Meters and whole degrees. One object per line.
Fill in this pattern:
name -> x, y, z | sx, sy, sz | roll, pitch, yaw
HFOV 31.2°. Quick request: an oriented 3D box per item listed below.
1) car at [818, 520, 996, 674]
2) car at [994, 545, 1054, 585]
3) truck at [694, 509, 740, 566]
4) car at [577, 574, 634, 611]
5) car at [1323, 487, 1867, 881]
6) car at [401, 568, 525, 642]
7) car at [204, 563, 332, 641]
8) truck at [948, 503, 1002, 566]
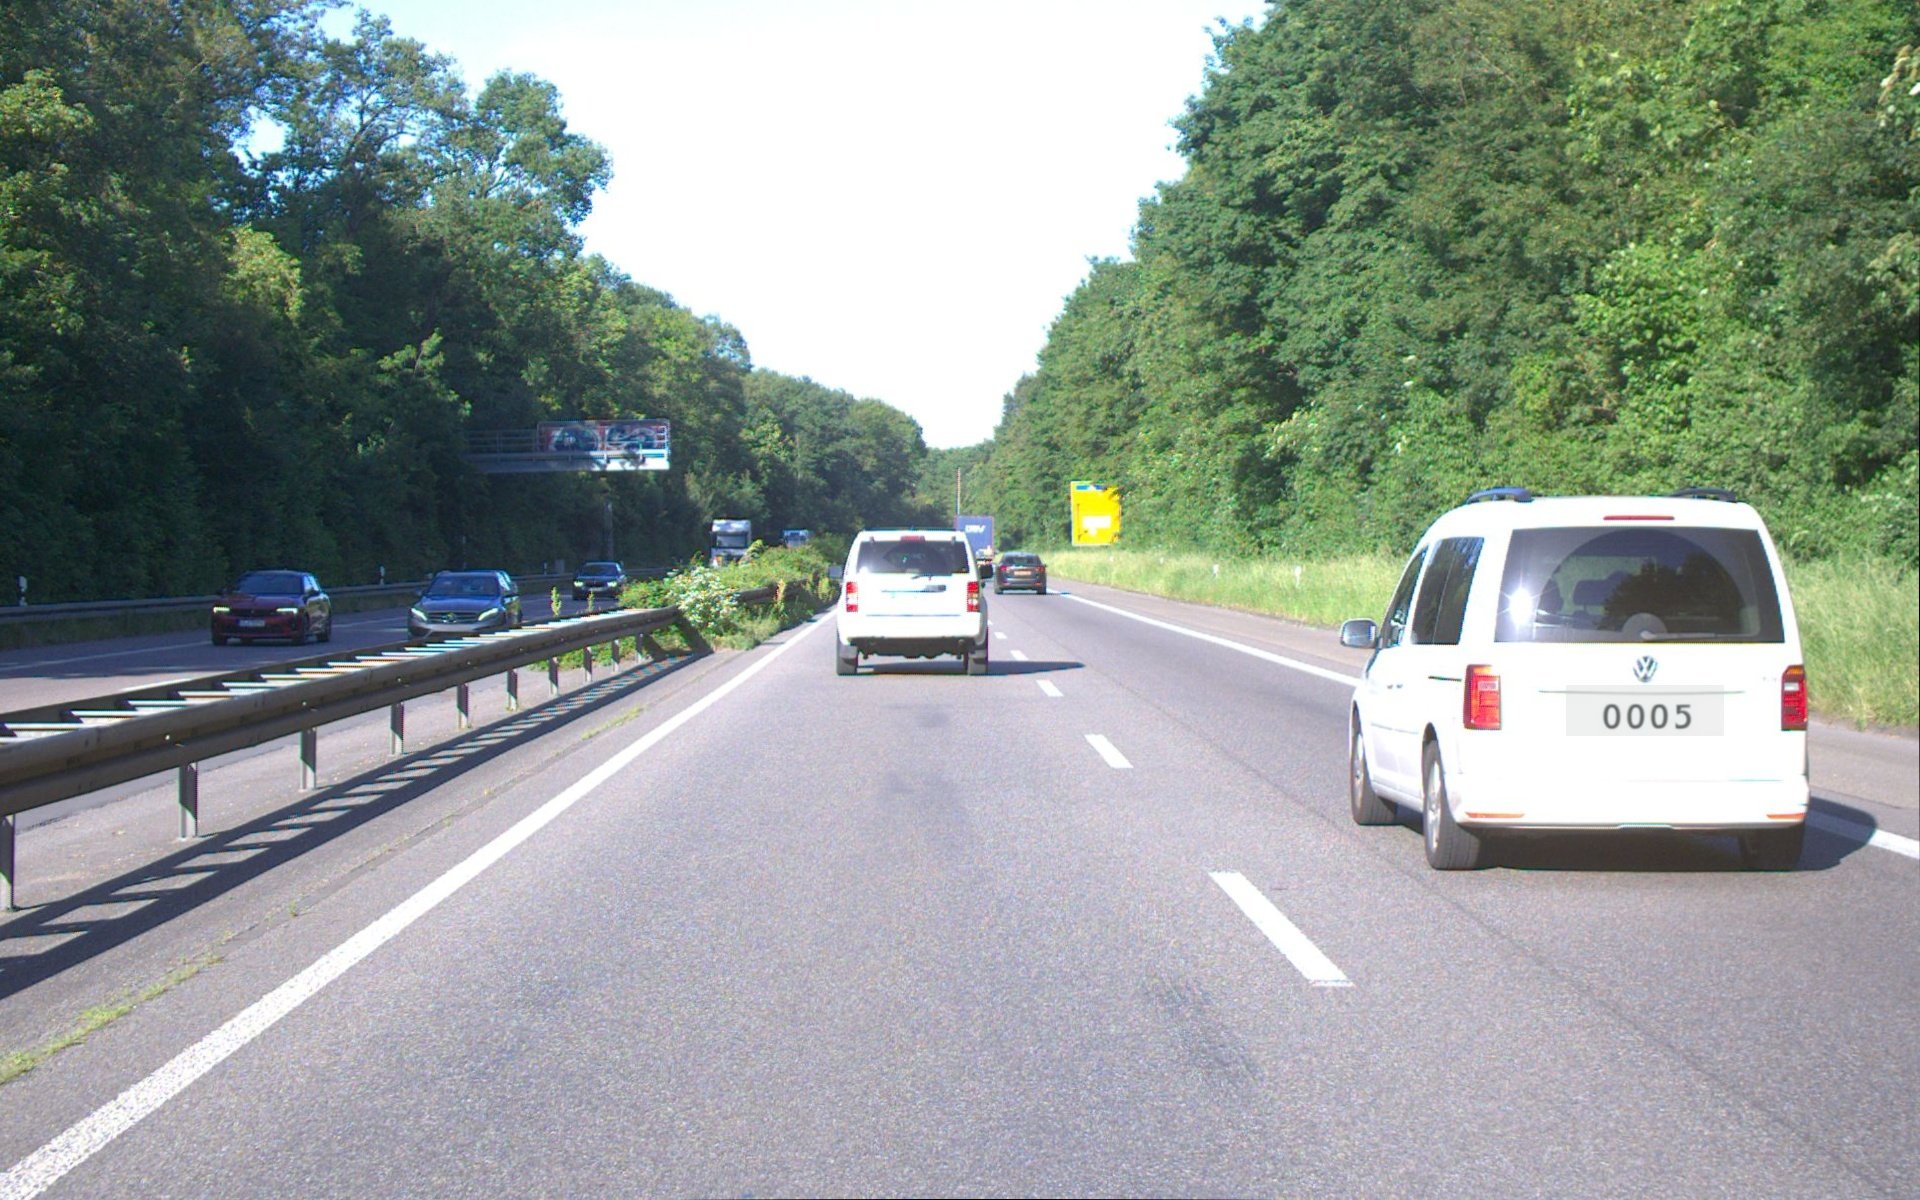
car -> -0.709, -0.072, 42.650 | 2.085, 1.822, 4.001 | 0, 1, -3
car -> 2.260, -1.258, 122.890 | 1.993, 1.393, 4.000 | 0, 1, -1
truck -> -16.092, -4.156, 227.992 | 2.761, 3.699, 7.858 | -1, 1, -3
car -> -13.213, -0.288, 128.309 | 1.718, 1.352, 3.946 | 0, 0, 0
car -> 3.093, 0.334, 17.695 | 1.863, 1.764, 4.470 | 0, 1, -1
car -> -9.517, 0.070, 66.160 | 1.835, 1.352, 4.475 | 0, 1, -1
car -> -13.537, 0.014, 67.459 | 1.718, 1.440, 4.229 | -1, 1, -1
truck -> 0.976, -4.477, 236.043 | 3.496, 4.158, 8.862 | -1, 1, -1
